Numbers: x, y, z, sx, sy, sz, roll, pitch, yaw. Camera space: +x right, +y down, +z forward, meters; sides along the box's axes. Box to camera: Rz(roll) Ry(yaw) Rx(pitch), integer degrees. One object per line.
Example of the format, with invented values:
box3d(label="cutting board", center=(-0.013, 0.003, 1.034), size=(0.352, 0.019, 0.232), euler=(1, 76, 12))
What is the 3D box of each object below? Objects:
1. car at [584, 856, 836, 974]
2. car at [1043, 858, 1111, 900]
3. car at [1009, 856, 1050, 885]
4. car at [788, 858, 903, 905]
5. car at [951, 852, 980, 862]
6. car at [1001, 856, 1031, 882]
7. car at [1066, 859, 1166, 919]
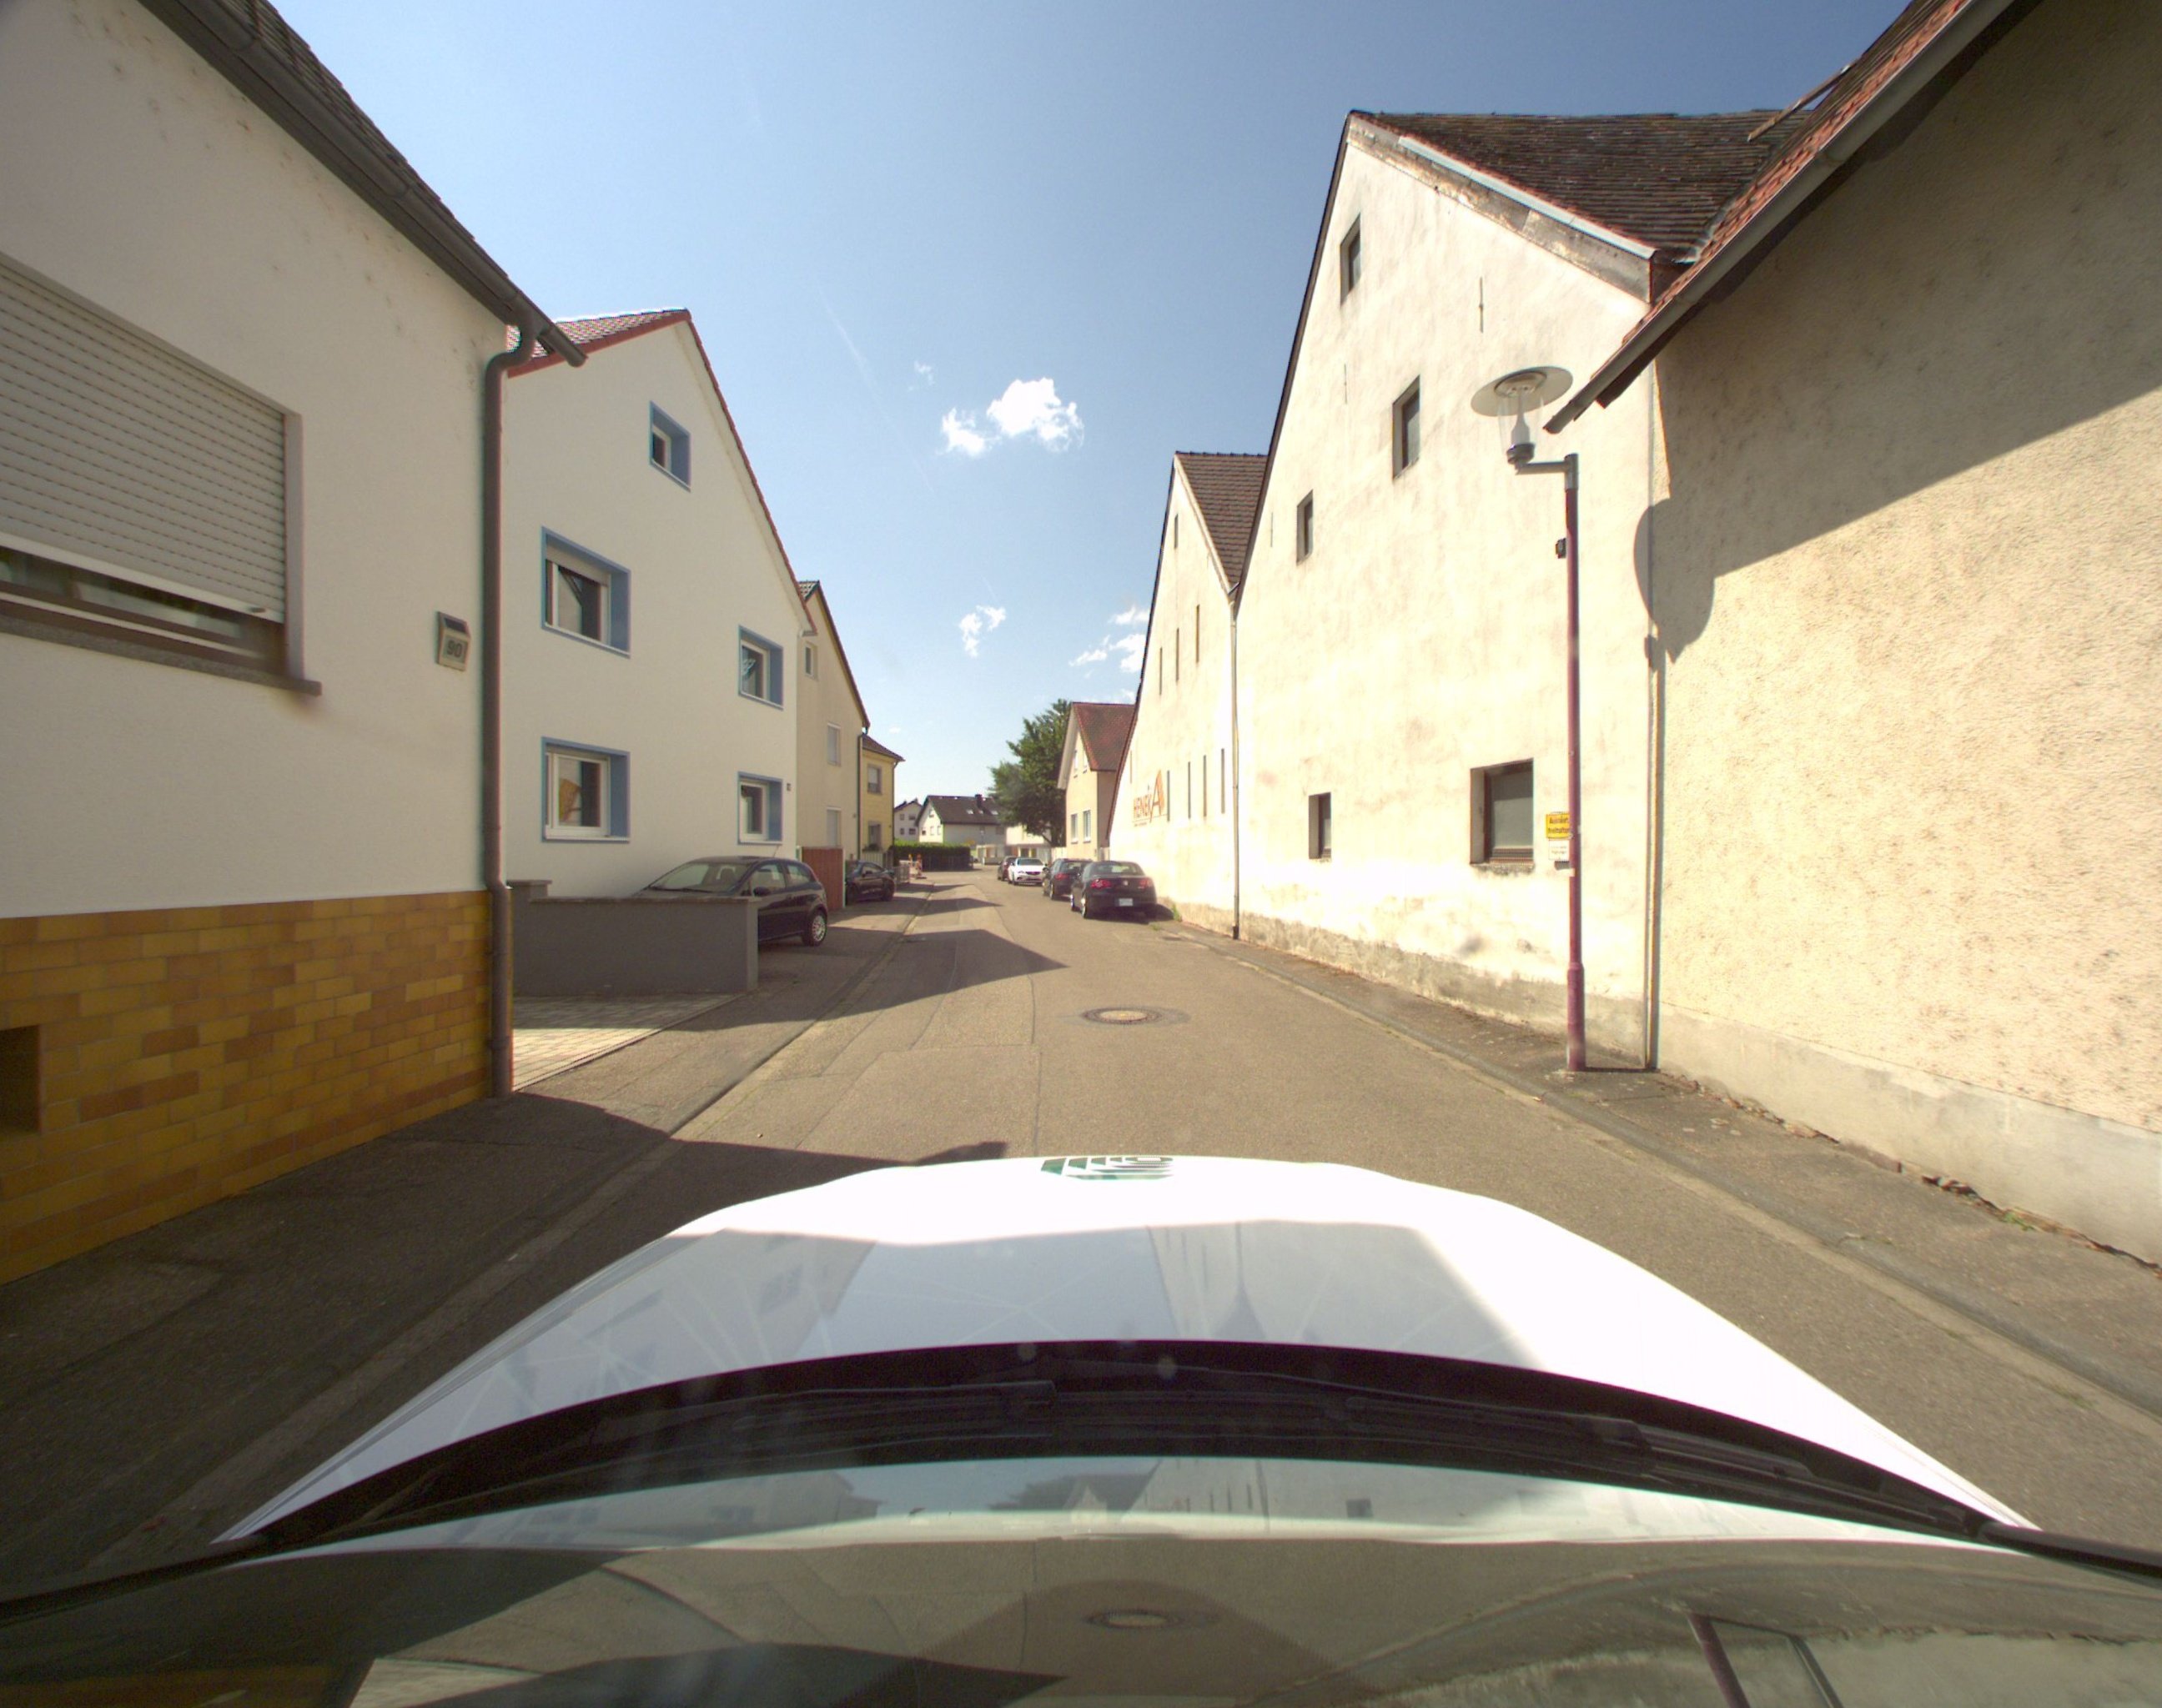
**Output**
box3d(label="car", center=(-5.310, 0.776, 12.263), size=(1.628, 1.455, 3.796), euler=(0, 0, 8))
box3d(label="car", center=(-0.234, 0.841, 29.118), size=(1.894, 1.365, 4.725), euler=(0, 0, -7))
box3d(label="car", center=(-2.751, 0.846, 42.924), size=(1.894, 1.428, 4.725), euler=(0, 0, -7))
box3d(label="car", center=(-7.294, 0.824, 25.749), size=(1.759, 1.349, 4.480), euler=(0, -1, 9))
box3d(label="car", center=(-16.183, 0.380, 113.949), size=(3.623, 1.408, 1.766), euler=(0, 0, -32))
box3d(label="car", center=(-3.981, 0.860, 49.439), size=(1.711, 1.532, 4.025), euler=(0, 0, -7))
box3d(label="car", center=(0.785, 0.831, 21.143), size=(1.894, 1.365, 4.403), euler=(0, 0, -7))
